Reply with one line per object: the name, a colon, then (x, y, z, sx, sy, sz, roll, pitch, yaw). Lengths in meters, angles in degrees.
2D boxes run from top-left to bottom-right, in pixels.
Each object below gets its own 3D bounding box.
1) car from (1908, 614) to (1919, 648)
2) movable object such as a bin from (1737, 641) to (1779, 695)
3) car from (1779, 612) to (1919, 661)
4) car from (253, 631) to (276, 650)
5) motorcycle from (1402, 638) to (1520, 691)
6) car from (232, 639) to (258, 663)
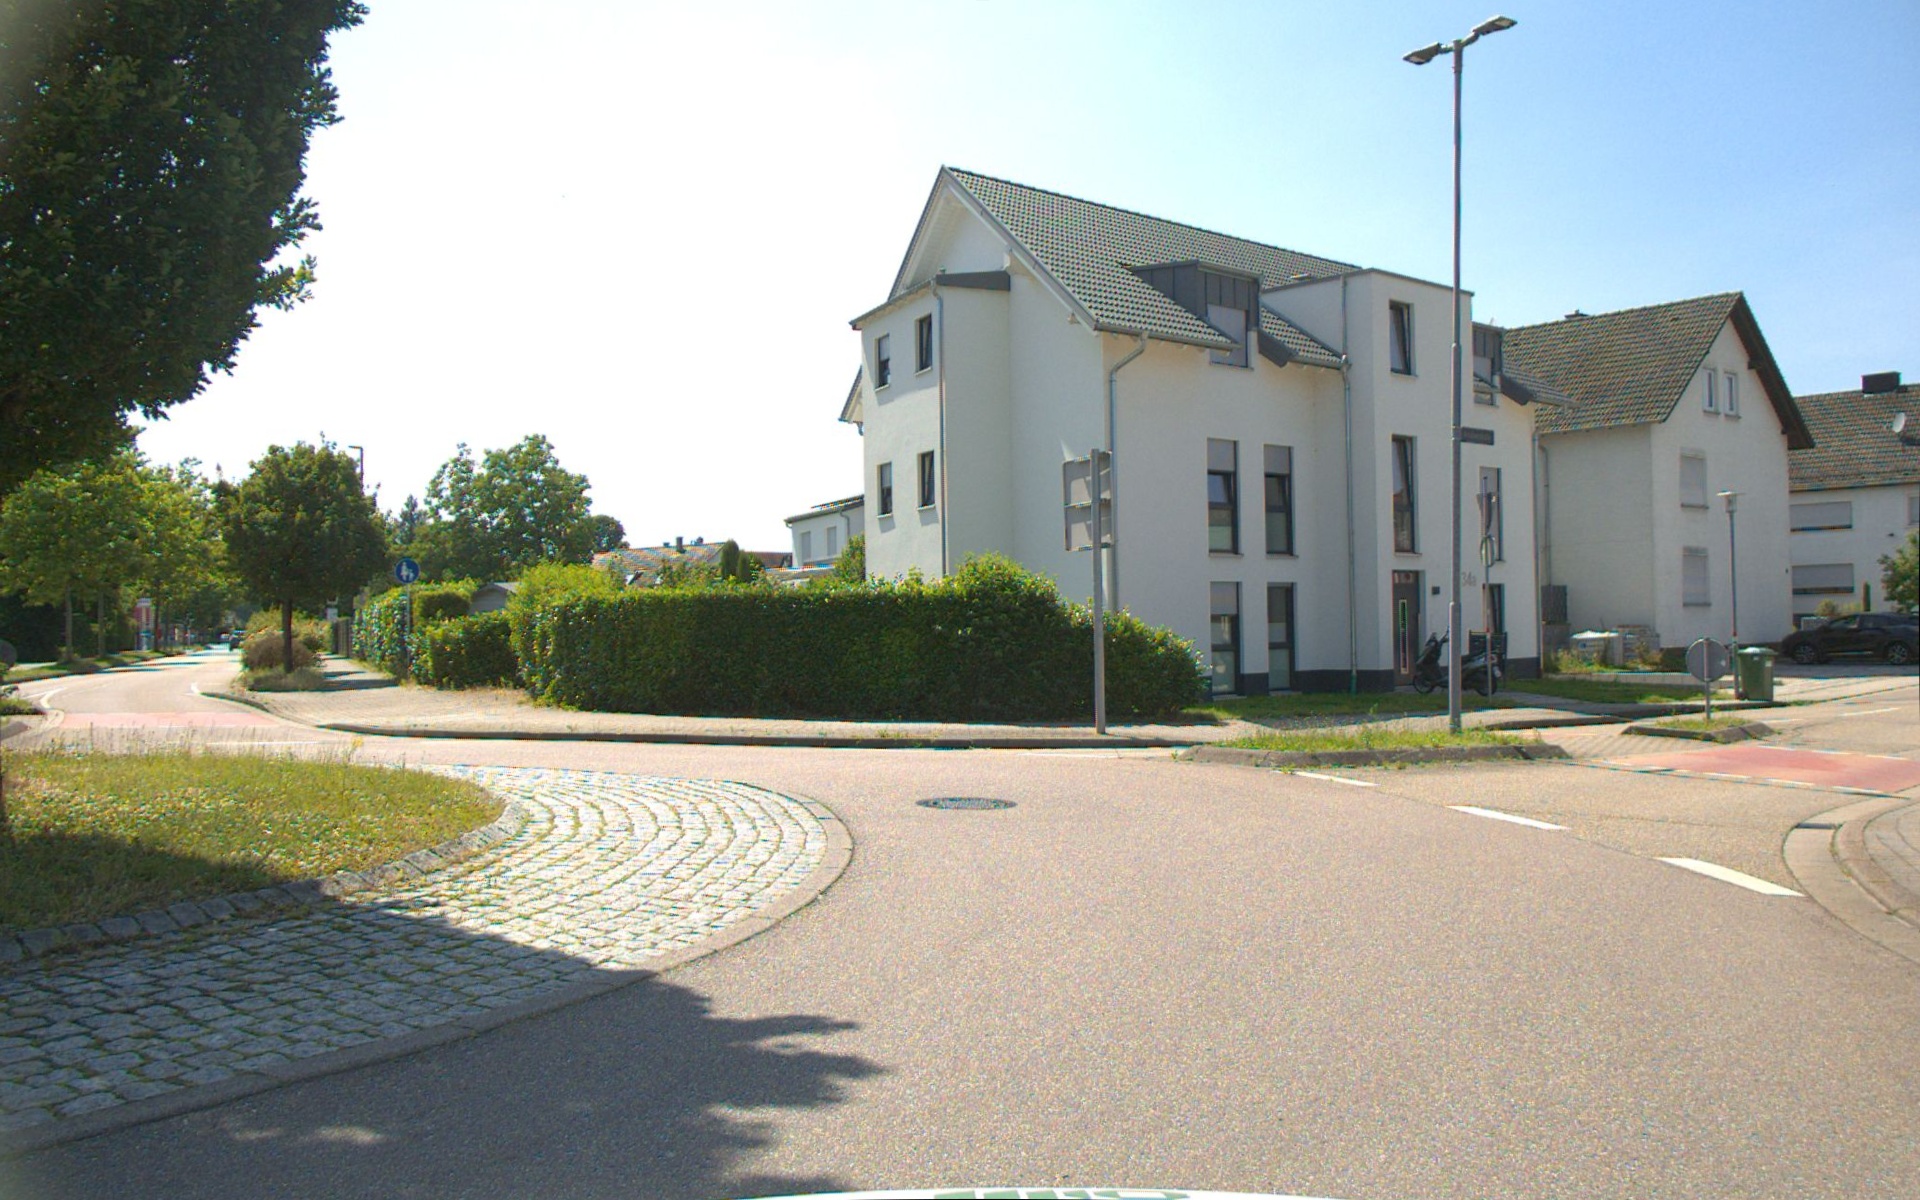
car: (35.906, 1.086, 58.394, 3.933, 1.211, 1.828, -1, -1, 45)
movable object such as a bin: (16.769, 1.427, 34.751, 0.454, 1.102, 0.639, 0, -1, -35)
car: (26.828, 1.076, 49.379, 3.932, 1.408, 1.649, -2, -1, 45)
car: (-67.409, 3.972, 160.351, 1.966, 1.801, 3.973, 1, -2, -22)
motorcycle: (10.092, 1.300, 33.400, 0.665, 1.031, 2.335, 2, -3, -39)
car: (-59.014, 4.193, 136.494, 1.897, 1.919, 3.971, 1, -2, -23)
